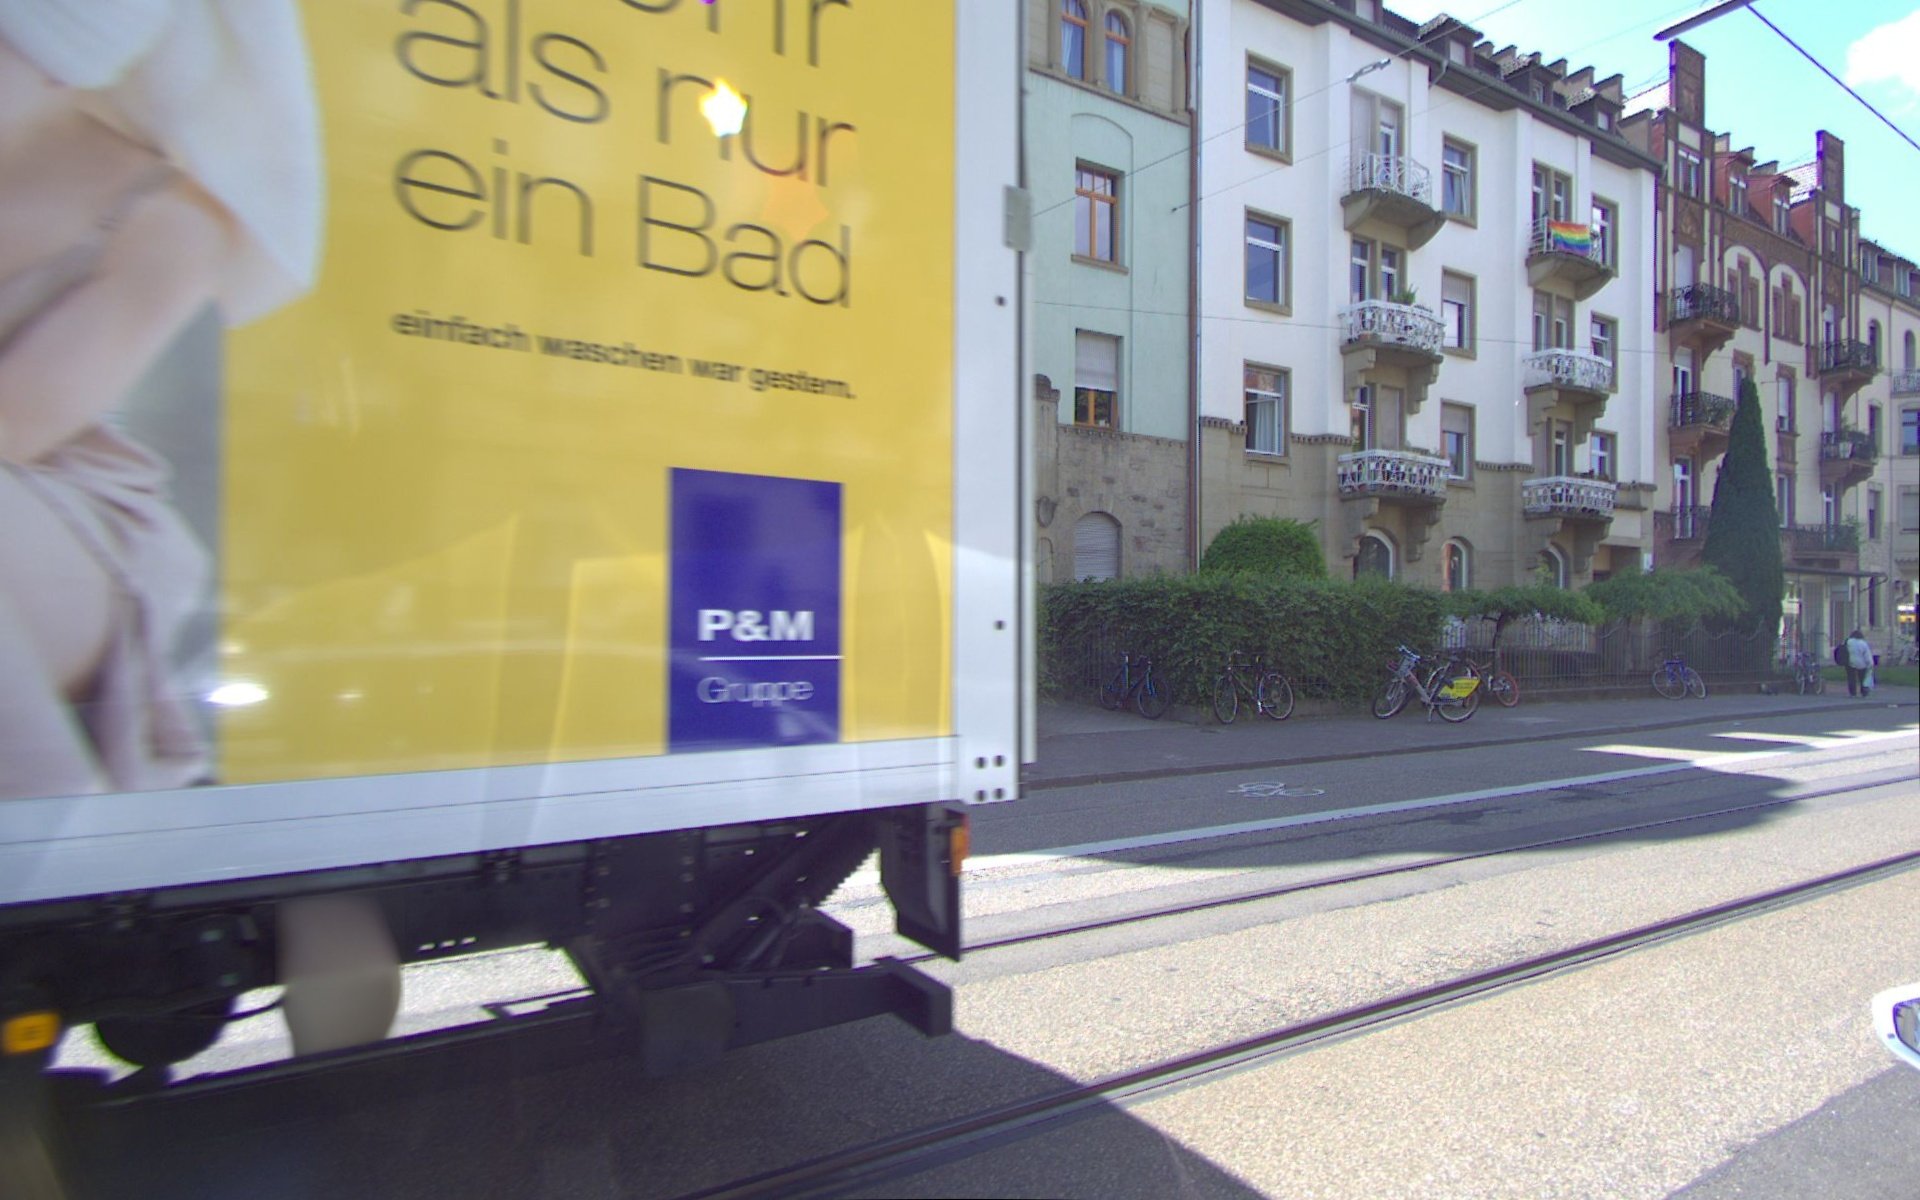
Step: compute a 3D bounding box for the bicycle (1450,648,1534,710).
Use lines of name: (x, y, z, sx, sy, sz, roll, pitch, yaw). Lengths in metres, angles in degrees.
bicycle: (9.183, 1.343, 17.319, 1.705, 0.979, 0.411, 1, 2, -30)

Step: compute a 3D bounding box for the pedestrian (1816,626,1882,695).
pedestrian: (20.840, 1.392, 23.545, 0.973, 1.563, 0.896, 1, -1, -30)

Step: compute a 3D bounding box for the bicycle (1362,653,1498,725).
bicycle: (6.976, 1.307, 14.970, 1.739, 1.012, 0.610, 0, -1, 6)

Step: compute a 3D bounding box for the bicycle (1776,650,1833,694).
bicycle: (19.968, 1.705, 23.737, 1.820, 0.973, 0.408, 2, 1, -31)

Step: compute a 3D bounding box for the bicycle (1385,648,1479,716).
bicycle: (7.630, 1.306, 16.201, 1.688, 1.013, 0.462, 1, 2, -30)

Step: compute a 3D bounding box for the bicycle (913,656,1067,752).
bicycle: (0.370, 1.200, 11.934, 1.751, 0.989, 0.604, 1, 3, -31)

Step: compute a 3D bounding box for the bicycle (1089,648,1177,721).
bicycle: (2.586, 1.250, 15.178, 0.387, 0.941, 1.564, 1, 1, -29)

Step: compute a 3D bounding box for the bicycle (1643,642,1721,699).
bicycle: (14.892, 1.437, 20.709, 1.751, 1.079, 0.604, 1, 3, -31)

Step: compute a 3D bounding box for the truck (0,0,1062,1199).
truck: (-3.882, -0.338, 1.635, 8.167, 3.667, 2.769, 1, -2, -33)

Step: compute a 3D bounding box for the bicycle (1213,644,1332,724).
bicycle: (4.560, 1.195, 14.632, 1.751, 1.046, 0.604, 1, 3, -31)

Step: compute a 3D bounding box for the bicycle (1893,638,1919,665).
bicycle: (39.111, 2.110, 41.211, 1.437, 1.080, 0.371, 2, 0, -7)

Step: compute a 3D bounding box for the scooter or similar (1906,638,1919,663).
scooter or similar: (40.673, 2.140, 42.369, 0.682, 1.058, 1.210, 2, 0, 20)
